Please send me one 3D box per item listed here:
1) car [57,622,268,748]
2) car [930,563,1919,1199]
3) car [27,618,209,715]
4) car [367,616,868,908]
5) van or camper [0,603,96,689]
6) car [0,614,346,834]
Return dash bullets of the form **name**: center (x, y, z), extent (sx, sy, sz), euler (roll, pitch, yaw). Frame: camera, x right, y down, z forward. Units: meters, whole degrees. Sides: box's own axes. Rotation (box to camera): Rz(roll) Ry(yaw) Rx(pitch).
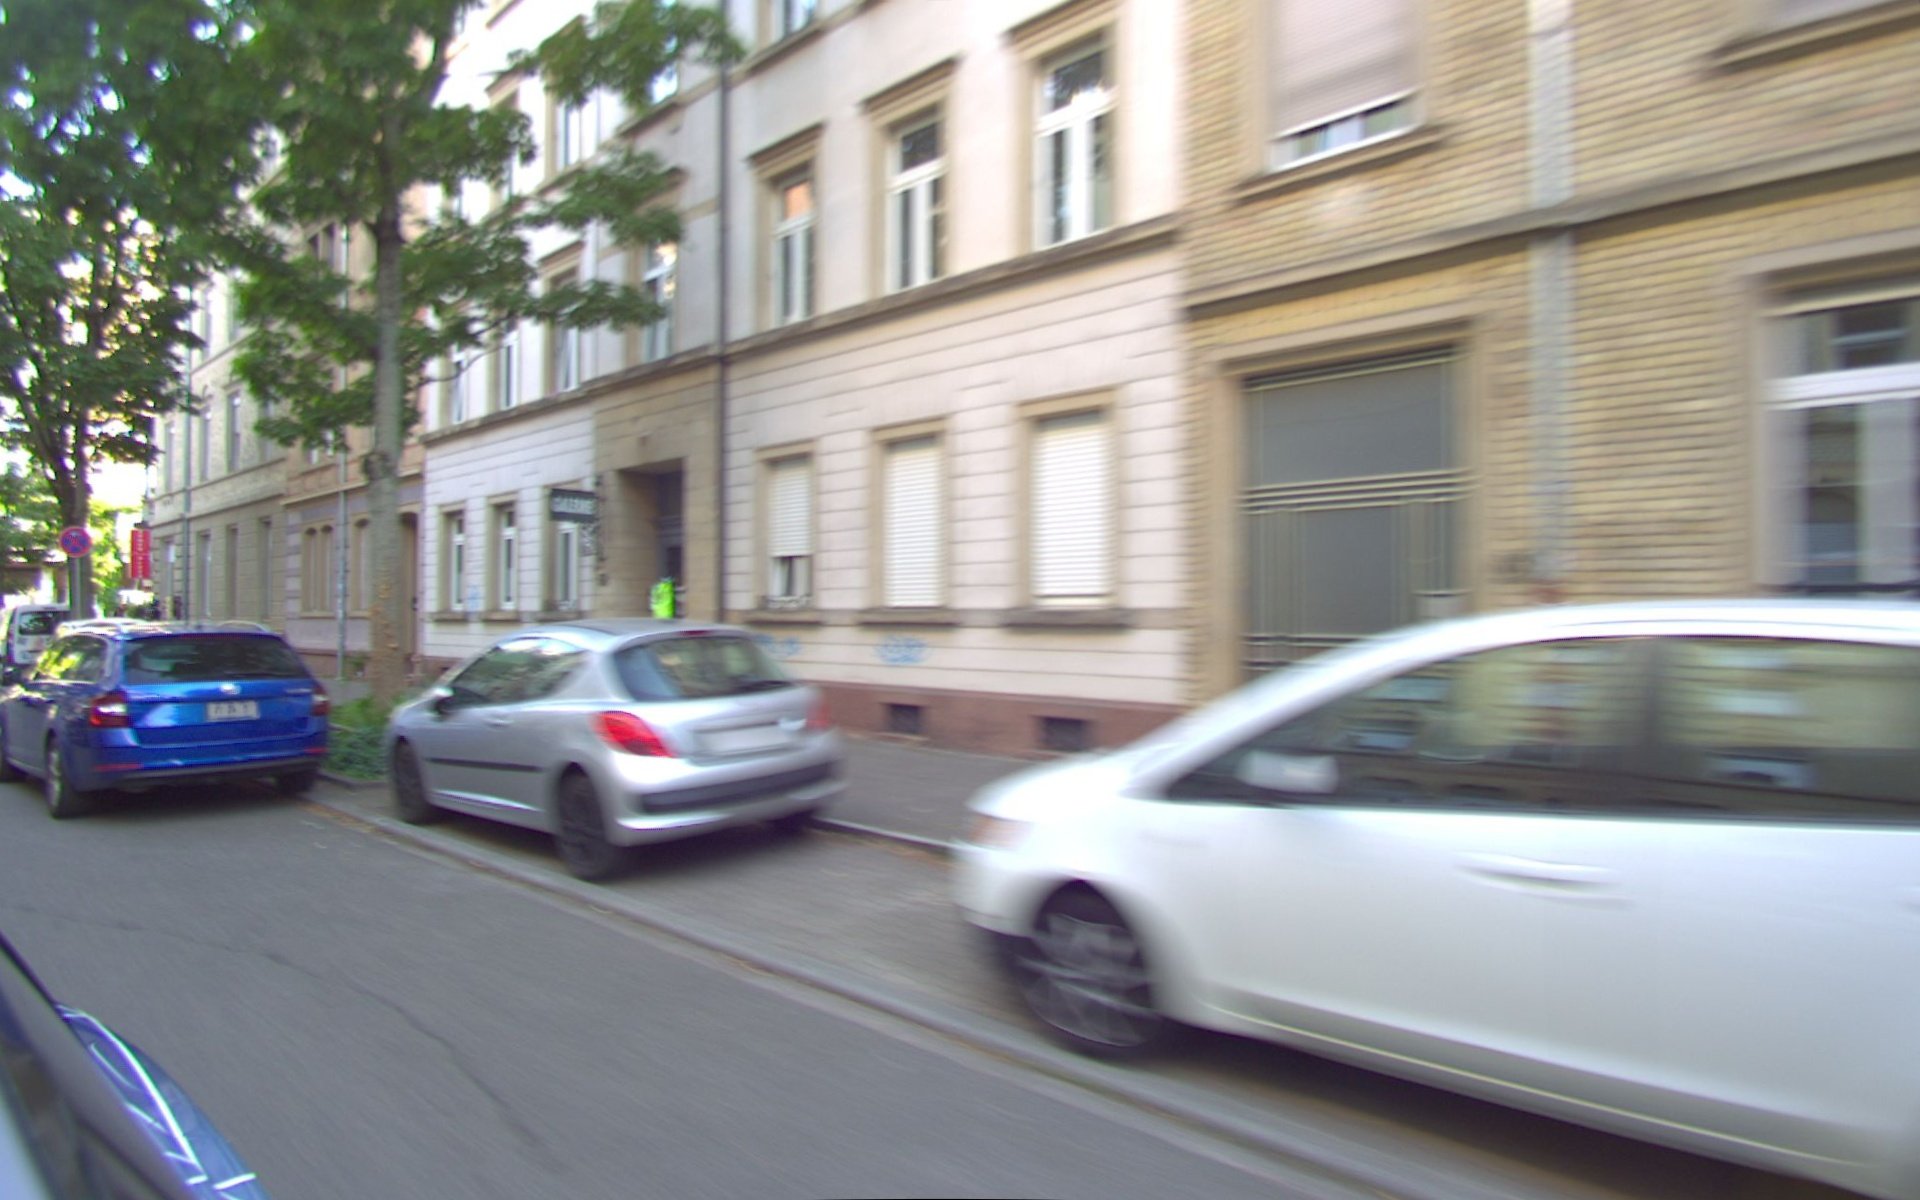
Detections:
- **car**: center (-11.284, 1.072, 14.238), extent (3.756, 1.506, 1.733), euler (-1, -1, 42)
- **car**: center (1.853, 0.713, 3.210), extent (3.795, 1.555, 1.594), euler (-1, -1, 39)
- **car**: center (-14.914, 1.088, 17.872), extent (3.752, 1.506, 1.735), euler (-1, -1, 38)
- **car**: center (-2.545, 0.856, 7.037), extent (3.846, 1.450, 1.593), euler (-1, 0, 41)
- **van or camper**: center (-21.921, 1.030, 23.862), extent (3.752, 1.872, 1.663), euler (-1, -1, 38)
- **car**: center (-7.118, 0.874, 8.734), extent (4.277, 1.468, 1.645), euler (-1, -2, 37)
